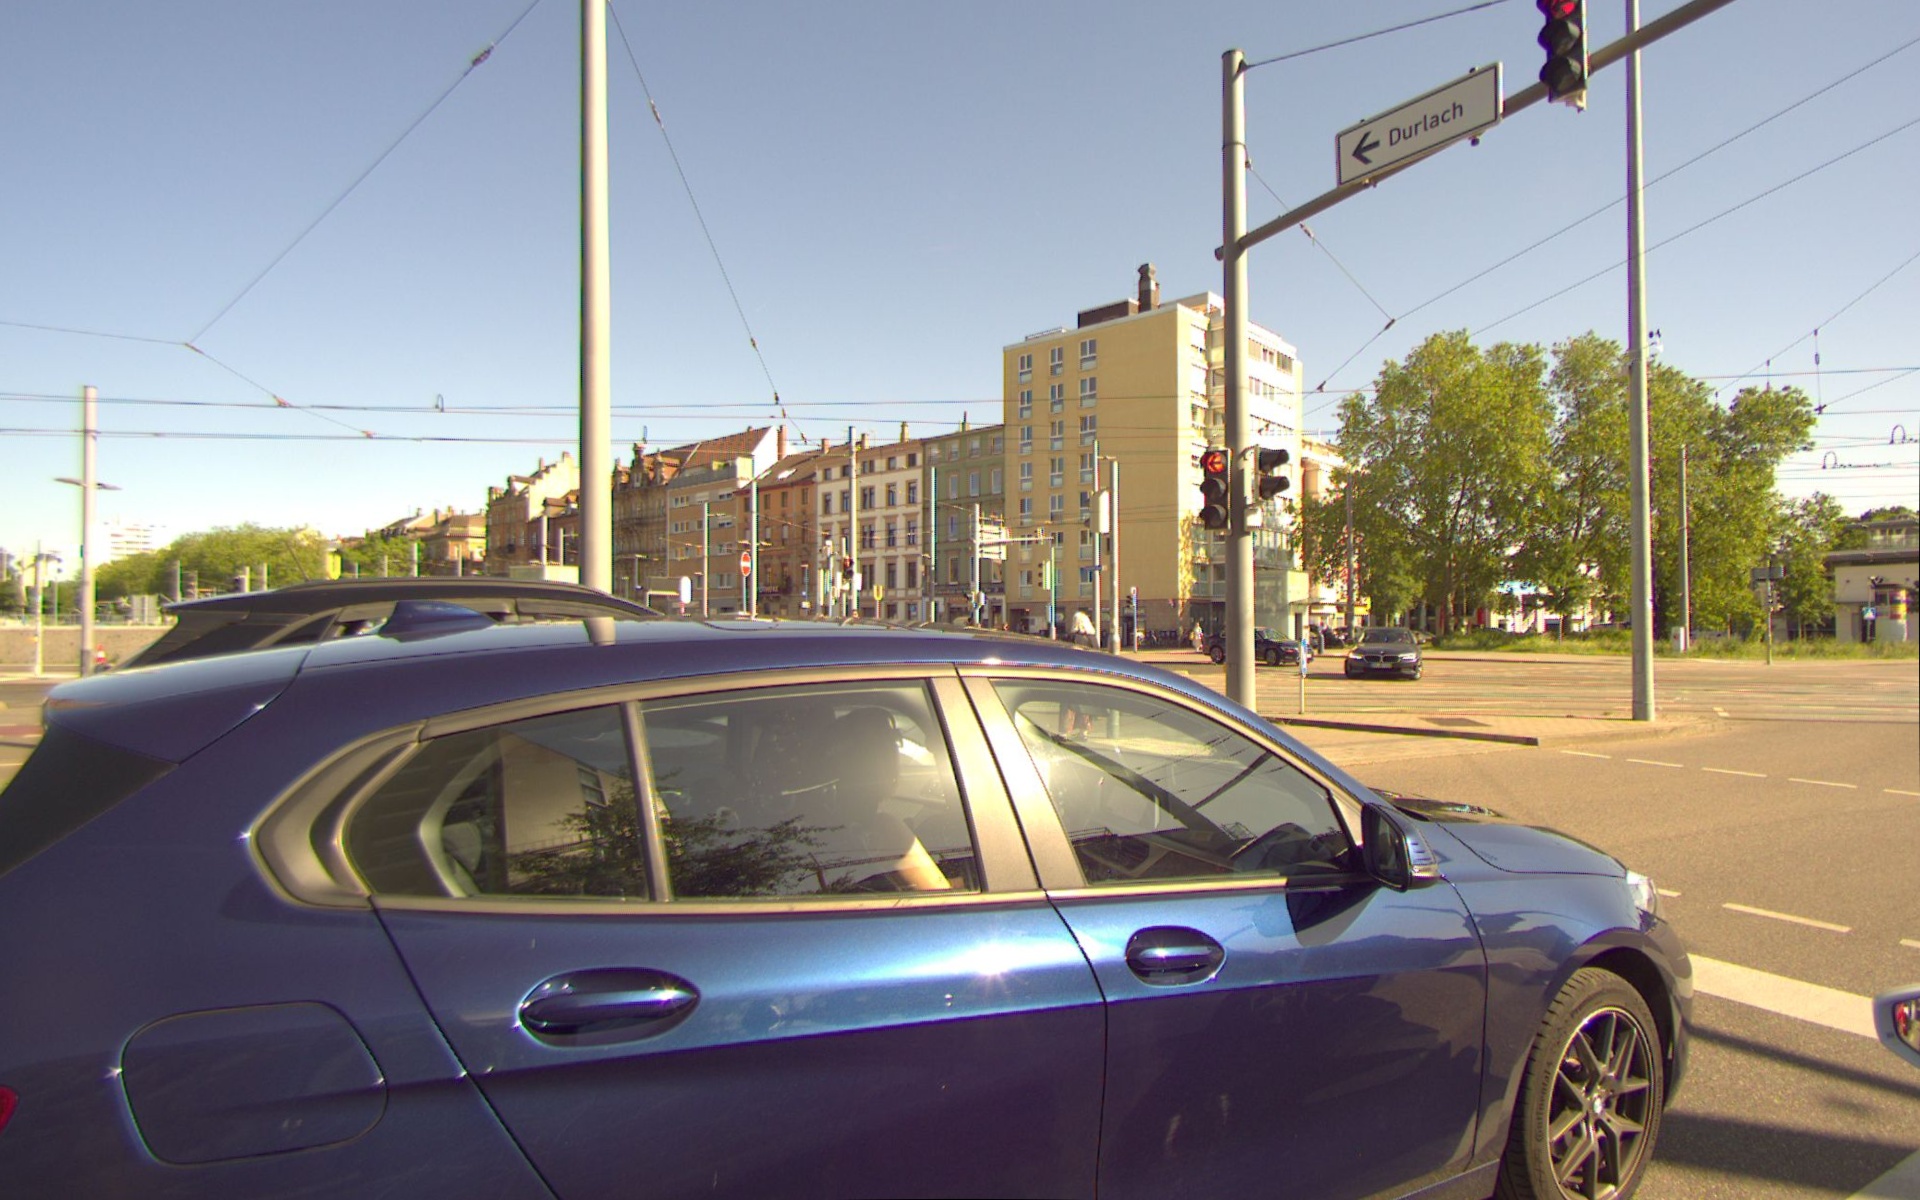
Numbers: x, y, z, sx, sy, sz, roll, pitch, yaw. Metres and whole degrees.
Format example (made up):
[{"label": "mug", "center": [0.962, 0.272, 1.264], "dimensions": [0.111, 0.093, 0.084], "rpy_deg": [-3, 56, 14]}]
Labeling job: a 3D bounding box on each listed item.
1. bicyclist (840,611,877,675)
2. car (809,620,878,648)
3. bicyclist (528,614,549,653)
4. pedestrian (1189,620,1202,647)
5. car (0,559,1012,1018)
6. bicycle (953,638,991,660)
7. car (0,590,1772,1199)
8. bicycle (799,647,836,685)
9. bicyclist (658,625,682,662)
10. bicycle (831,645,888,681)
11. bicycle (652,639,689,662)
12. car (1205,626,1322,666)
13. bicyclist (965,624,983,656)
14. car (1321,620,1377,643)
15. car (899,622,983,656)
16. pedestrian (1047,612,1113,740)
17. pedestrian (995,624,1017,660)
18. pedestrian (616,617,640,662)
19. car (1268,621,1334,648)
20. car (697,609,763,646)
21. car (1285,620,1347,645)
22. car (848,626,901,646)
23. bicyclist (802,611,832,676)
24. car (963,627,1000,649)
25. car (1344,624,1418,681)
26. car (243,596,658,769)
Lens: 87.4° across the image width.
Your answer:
[{"label": "bicyclist", "center": [-2.687, 1.125, 26.542], "dimensions": [0.672, 1.676, 0.777], "rpy_deg": [1, -1, -35]}, {"label": "car", "center": [-7.221, 2.098, 62.143], "dimensions": [4.244, 1.675, 1.849], "rpy_deg": [-1, -2, 40]}, {"label": "bicyclist", "center": [-18.855, 1.480, 44.896], "dimensions": [0.609, 1.735, 0.675], "rpy_deg": [-1, -2, 42]}, {"label": "pedestrian", "center": [14.052, 2.014, 59.900], "dimensions": [0.702, 1.581, 0.557], "rpy_deg": [-1, -1, 23]}, {"label": "car", "center": [-1.877, 0.668, 5.081], "dimensions": [3.959, 1.537, 1.751], "rpy_deg": [1, -1, -28]}, {"label": "bicycle", "center": [0.547, 2.254, 46.220], "dimensions": [1.666, 0.958, 0.614], "rpy_deg": [1, -2, -30]}, {"label": "car", "center": [0.098, 0.757, 2.526], "dimensions": [3.984, 1.464, 1.703], "rpy_deg": [1, 0, -30]}, {"label": "bicycle", "center": [-3.710, 1.698, 26.122], "dimensions": [0.667, 0.890, 1.892], "rpy_deg": [0, -2, -17]}, {"label": "bicyclist", "center": [-11.783, 1.758, 40.817], "dimensions": [0.673, 1.474, 0.775], "rpy_deg": [1, -2, -42]}, {"label": "bicycle", "center": [-2.674, 1.637, 26.499], "dimensions": [0.672, 0.890, 1.880], "rpy_deg": [1, -2, -35]}, {"label": "bicycle", "center": [-11.759, 2.032, 40.770], "dimensions": [0.673, 0.890, 1.875], "rpy_deg": [1, -2, -42]}, {"label": "car", "center": [11.648, 1.726, 38.821], "dimensions": [1.712, 1.457, 4.132], "rpy_deg": [1, -2, -37]}, {"label": "bicyclist", "center": [0.635, 1.847, 46.286], "dimensions": [0.609, 1.462, 0.614], "rpy_deg": [1, -1, -30]}, {"label": "car", "center": [29.919, 2.405, 77.285], "dimensions": [3.691, 1.684, 1.586], "rpy_deg": [-1, -2, 42]}, {"label": "car", "center": [-1.003, 2.005, 51.785], "dimensions": [4.246, 1.675, 1.848], "rpy_deg": [-1, -2, 42]}, {"label": "pedestrian", "center": [1.500, 0.945, 12.620], "dimensions": [0.748, 1.575, 0.356], "rpy_deg": [0, -1, -13]}, {"label": "pedestrian", "center": [2.082, 1.899, 45.255], "dimensions": [0.669, 1.593, 0.740], "rpy_deg": [1, -2, -45]}, {"label": "pedestrian", "center": [-12.944, 1.518, 39.141], "dimensions": [0.672, 1.735, 0.793], "rpy_deg": [1, -1, -38]}, {"label": "car", "center": [21.630, 2.160, 63.776], "dimensions": [3.691, 1.684, 1.586], "rpy_deg": [-1, -2, 42]}, {"label": "car", "center": [-18.233, 2.177, 79.509], "dimensions": [5.838, 2.780, 2.133], "rpy_deg": [-1, -2, 42]}, {"label": "car", "center": [24.450, 2.246, 68.969], "dimensions": [3.691, 1.684, 1.586], "rpy_deg": [-1, -2, 42]}, {"label": "car", "center": [-6.298, 2.657, 74.466], "dimensions": [1.749, 1.446, 3.863], "rpy_deg": [-1, -2, 39]}, {"label": "bicyclist", "center": [-3.748, 1.136, 26.291], "dimensions": [0.667, 1.676, 0.782], "rpy_deg": [0, -1, -17]}, {"label": "car", "center": [1.375, 2.497, 66.999], "dimensions": [1.745, 1.446, 3.873], "rpy_deg": [0, -2, -10]}, {"label": "car", "center": [12.169, 1.453, 29.073], "dimensions": [1.829, 1.521, 4.566], "rpy_deg": [-1, -2, 23]}, {"label": "car", "center": [-5.858, 0.855, 11.804], "dimensions": [4.040, 1.681, 1.848], "rpy_deg": [1, -2, -41]}]
